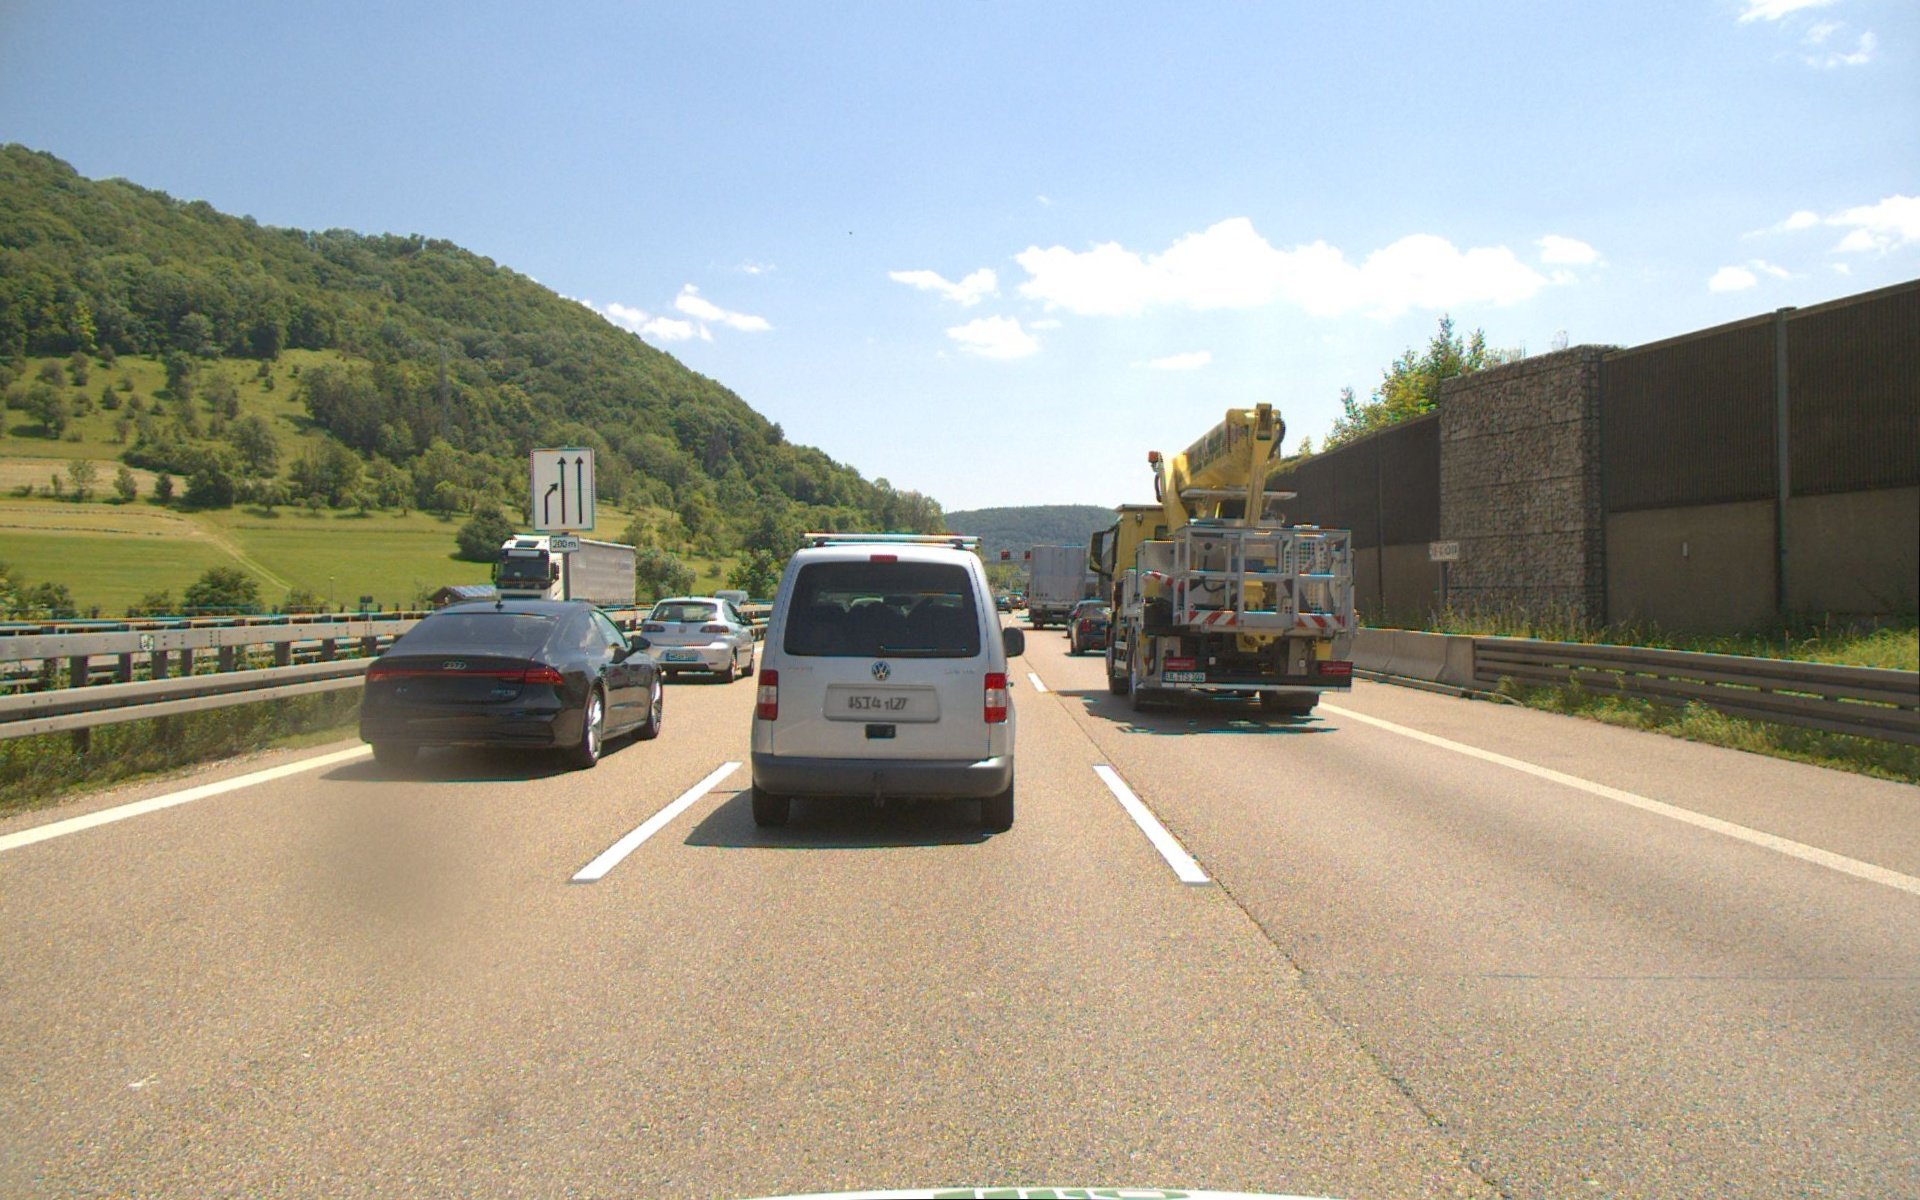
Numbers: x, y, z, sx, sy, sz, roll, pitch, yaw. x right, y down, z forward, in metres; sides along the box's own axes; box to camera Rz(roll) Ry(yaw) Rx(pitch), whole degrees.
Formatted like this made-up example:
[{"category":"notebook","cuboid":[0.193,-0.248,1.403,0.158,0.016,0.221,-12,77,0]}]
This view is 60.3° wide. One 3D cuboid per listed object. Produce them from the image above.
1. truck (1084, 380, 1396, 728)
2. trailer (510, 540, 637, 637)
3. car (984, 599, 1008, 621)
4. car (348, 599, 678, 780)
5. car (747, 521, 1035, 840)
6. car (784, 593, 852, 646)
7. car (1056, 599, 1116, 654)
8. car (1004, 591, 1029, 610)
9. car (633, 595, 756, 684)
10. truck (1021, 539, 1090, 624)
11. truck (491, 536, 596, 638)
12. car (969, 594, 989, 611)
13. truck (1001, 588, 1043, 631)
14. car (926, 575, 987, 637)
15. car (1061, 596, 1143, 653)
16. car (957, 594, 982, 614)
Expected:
[{"category":"truck","cuboid":[3.576,-0.535,23.493,2.649,4.011,8.718,0,0,-2]},{"category":"trailer","cuboid":[-18.509,-0.459,80.291,2.796,4.264,13.615,1,0,1]},{"category":"car","cuboid":[3.029,0.841,139.173,1.952,1.779,4.000,1,0,1]},{"category":"car","cuboid":[-3.934,0.700,15.492,1.764,1.415,4.969,0,0,0]},{"category":"car","cuboid":[-0.486,0.479,11.894,1.721,1.900,3.998,0,0,-2]},{"category":"car","cuboid":[-4.312,0.575,50.787,1.886,1.525,3.998,1,0,-2]},{"category":"car","cuboid":[4.855,0.984,64.001,1.953,2.049,3.999,0,0,-1]},{"category":"car","cuboid":[5.570,0.080,163.256,2.072,1.859,3.998,1,0,-3]},{"category":"car","cuboid":[-4.601,0.643,29.147,1.661,1.470,3.860,0,0,-2]},{"category":"truck","cuboid":[4.603,-0.828,81.049,2.880,3.890,8.236,1,0,0]},{"category":"truck","cuboid":[-18.581,-0.514,74.230,2.740,4.306,7.231,1,0,0]},{"category":"car","cuboid":[2.037,0.276,177.080,1.953,1.837,3.999,1,0,-1]},{"category":"truck","cuboid":[3.851,0.576,102.036,2.340,2.585,5.942,0,0,4]},{"category":"car","cuboid":[-0.151,0.194,56.365,1.953,2.010,3.998,0,0,-2]},{"category":"car","cuboid":[3.797,0.637,44.712,1.750,1.484,3.769,0,0,-2]},{"category":"car","cuboid":[0.862,0.393,155.042,2.072,1.859,3.998,1,0,-3]}]
